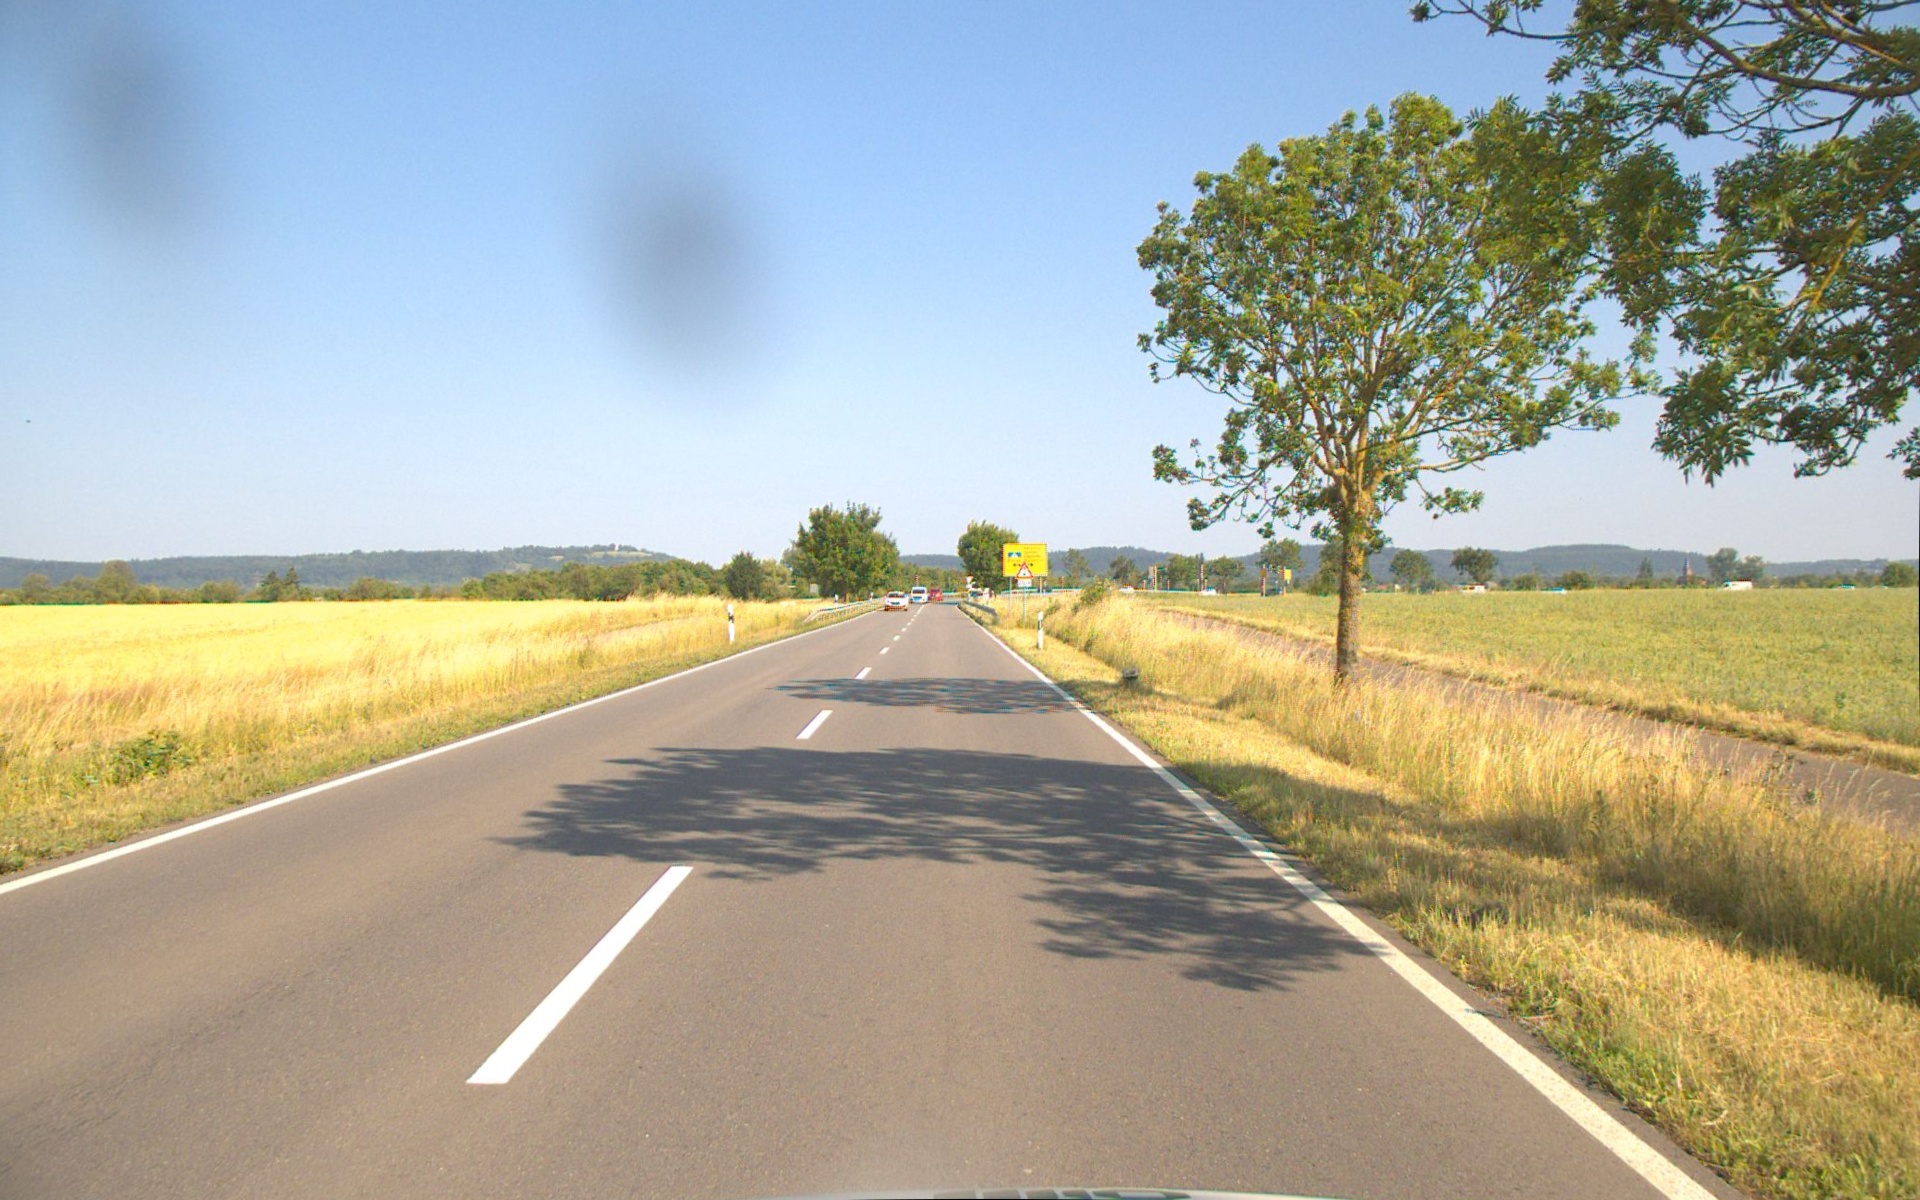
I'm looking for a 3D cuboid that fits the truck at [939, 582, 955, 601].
[{"bbox_3d":[-1.843,-1.209,236.872,1.952,2.564,6.246,0,0,3],"label":"truck"}]

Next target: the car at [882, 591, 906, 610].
[{"bbox_3d":[-5.086,0.047,127.844,1.691,1.462,4.515,0,0,-1],"label":"car"}]

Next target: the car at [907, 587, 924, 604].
[{"bbox_3d":[-4.897,-0.490,183.792,1.799,1.818,4.434,0,0,0],"label":"car"}]

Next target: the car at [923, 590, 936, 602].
[{"bbox_3d":[-3.816,-0.489,205.995,1.574,1.514,3.779,0,0,-1],"label":"car"}]
